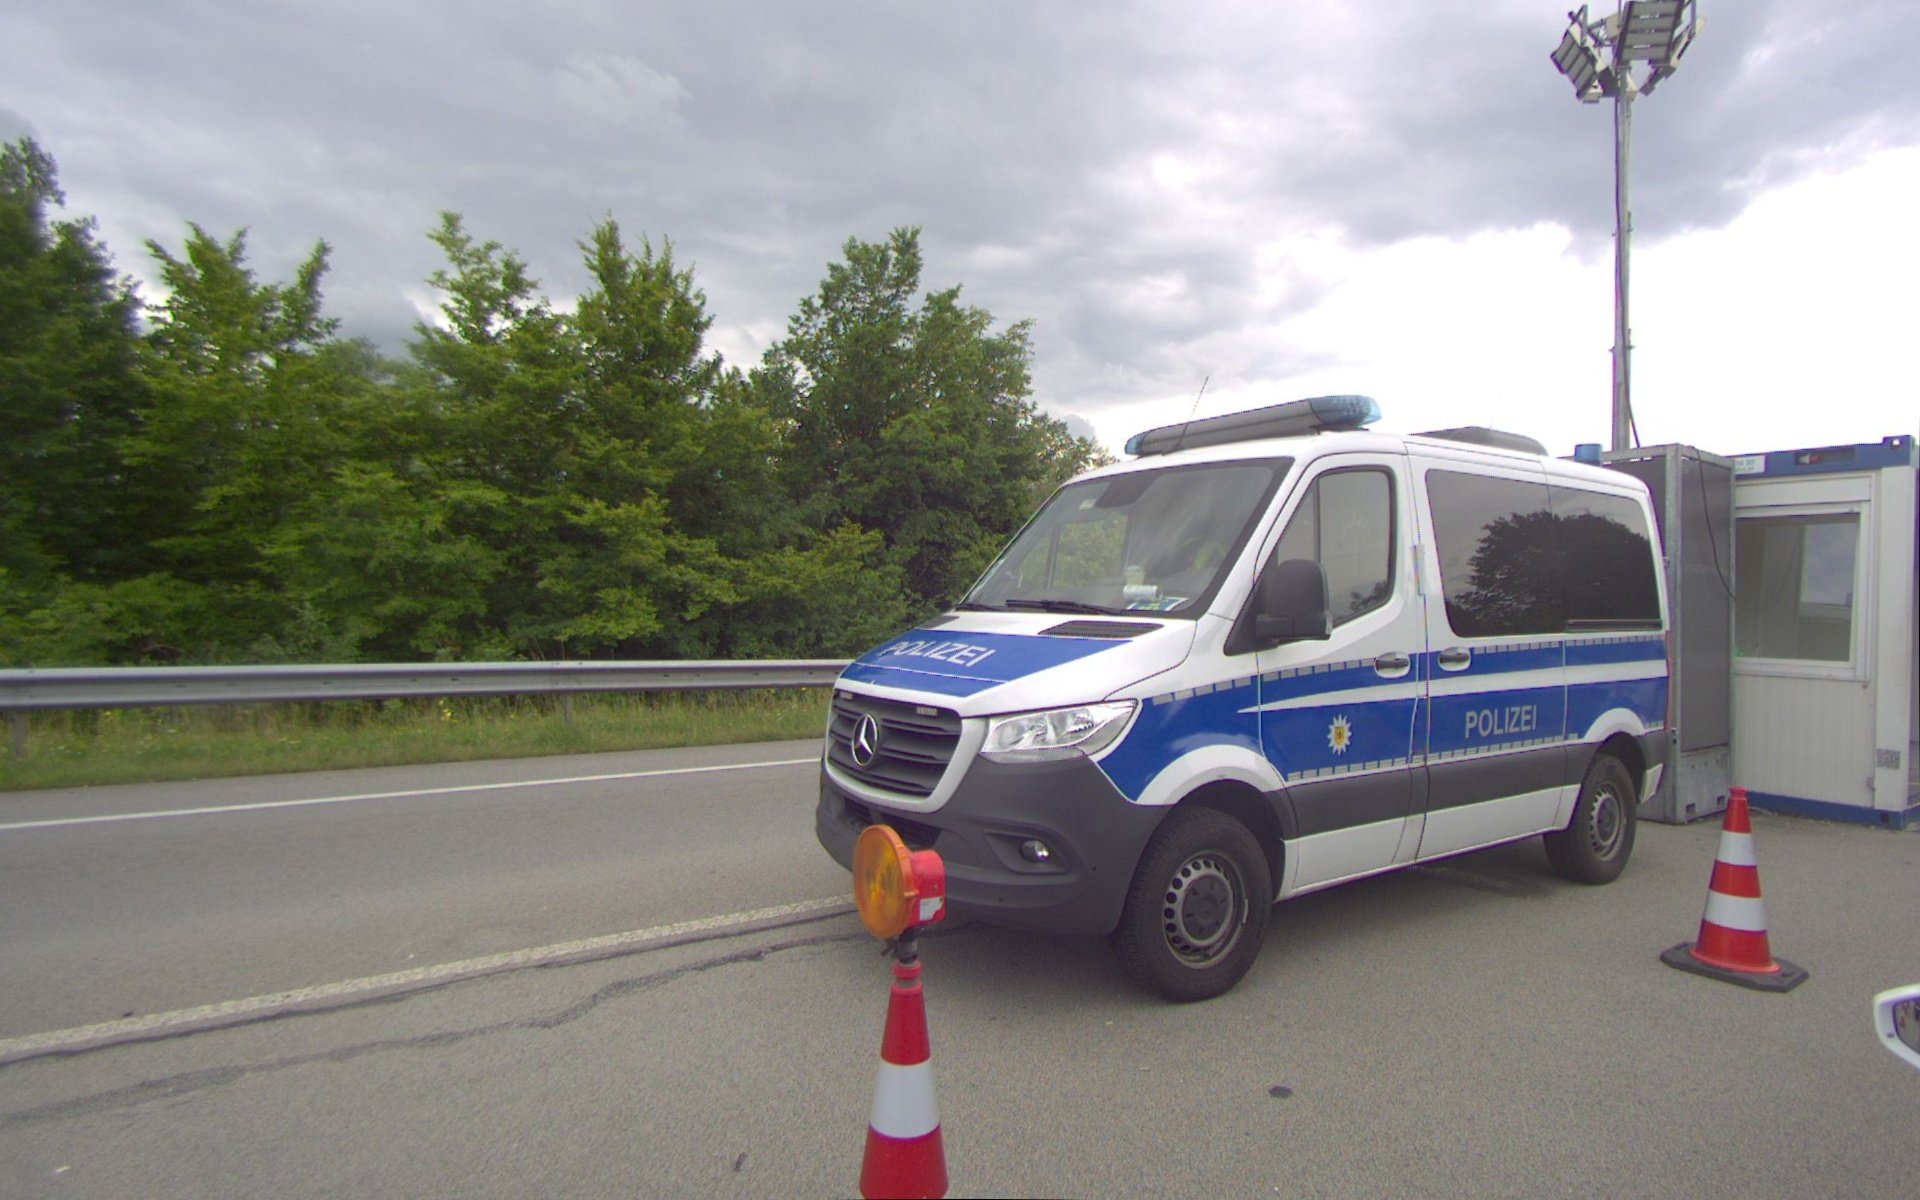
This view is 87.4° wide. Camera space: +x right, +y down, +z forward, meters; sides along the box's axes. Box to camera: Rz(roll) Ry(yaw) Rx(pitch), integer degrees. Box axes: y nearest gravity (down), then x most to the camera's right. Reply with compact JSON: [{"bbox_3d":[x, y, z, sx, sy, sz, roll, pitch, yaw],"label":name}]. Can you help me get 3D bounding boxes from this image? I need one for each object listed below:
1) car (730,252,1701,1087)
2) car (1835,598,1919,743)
[{"bbox_3d":[1.658,0.253,5.321,5.225,2.496,2.016,1,0,-34],"label":"car"},{"bbox_3d":[13.439,0.905,13.302,3.967,1.767,1.857,1,0,-35],"label":"car"}]
